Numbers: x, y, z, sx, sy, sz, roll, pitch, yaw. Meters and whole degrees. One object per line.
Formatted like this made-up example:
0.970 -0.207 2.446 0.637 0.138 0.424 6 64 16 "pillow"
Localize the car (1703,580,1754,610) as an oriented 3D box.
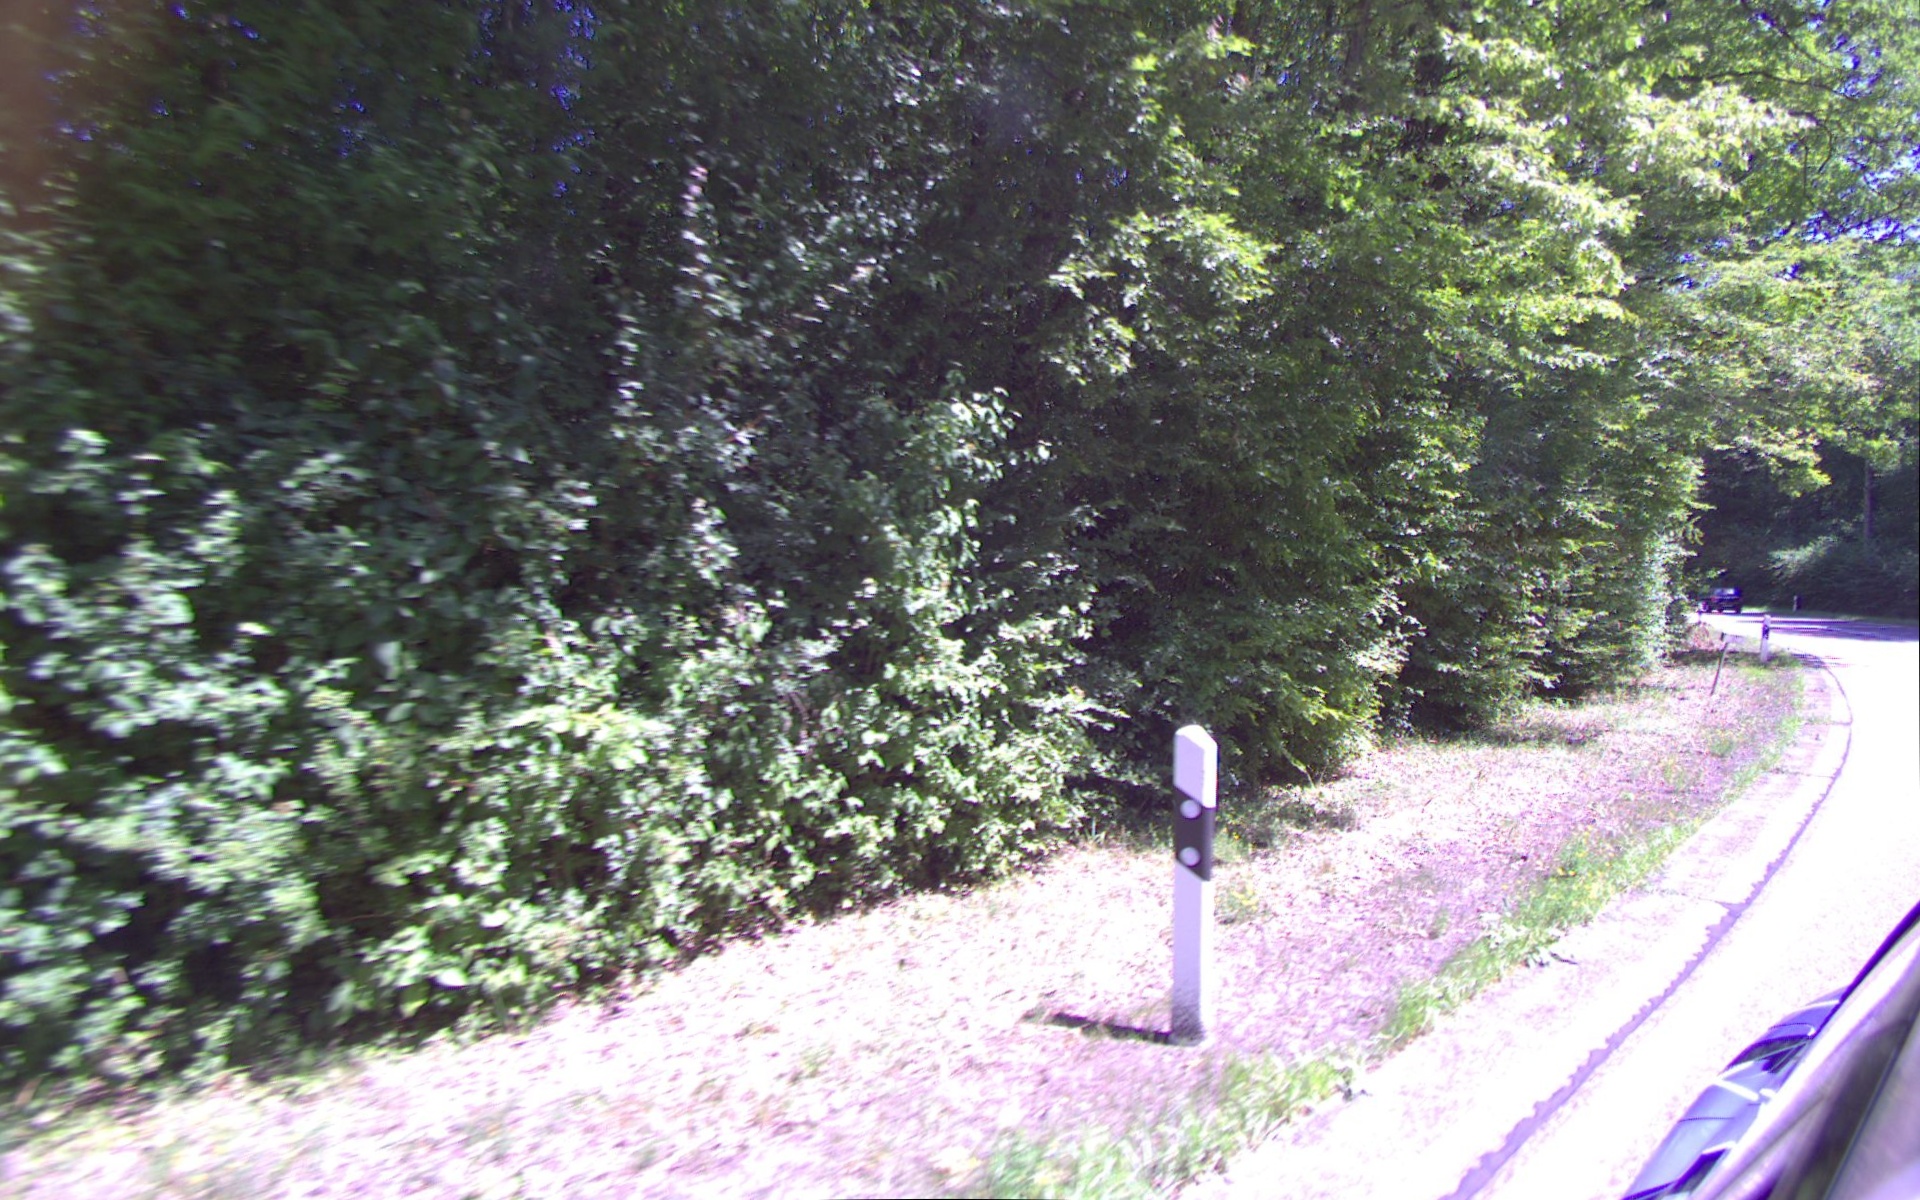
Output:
45.247 -0.340 59.672 1.667 1.593 3.859 2 3 27 "car"
